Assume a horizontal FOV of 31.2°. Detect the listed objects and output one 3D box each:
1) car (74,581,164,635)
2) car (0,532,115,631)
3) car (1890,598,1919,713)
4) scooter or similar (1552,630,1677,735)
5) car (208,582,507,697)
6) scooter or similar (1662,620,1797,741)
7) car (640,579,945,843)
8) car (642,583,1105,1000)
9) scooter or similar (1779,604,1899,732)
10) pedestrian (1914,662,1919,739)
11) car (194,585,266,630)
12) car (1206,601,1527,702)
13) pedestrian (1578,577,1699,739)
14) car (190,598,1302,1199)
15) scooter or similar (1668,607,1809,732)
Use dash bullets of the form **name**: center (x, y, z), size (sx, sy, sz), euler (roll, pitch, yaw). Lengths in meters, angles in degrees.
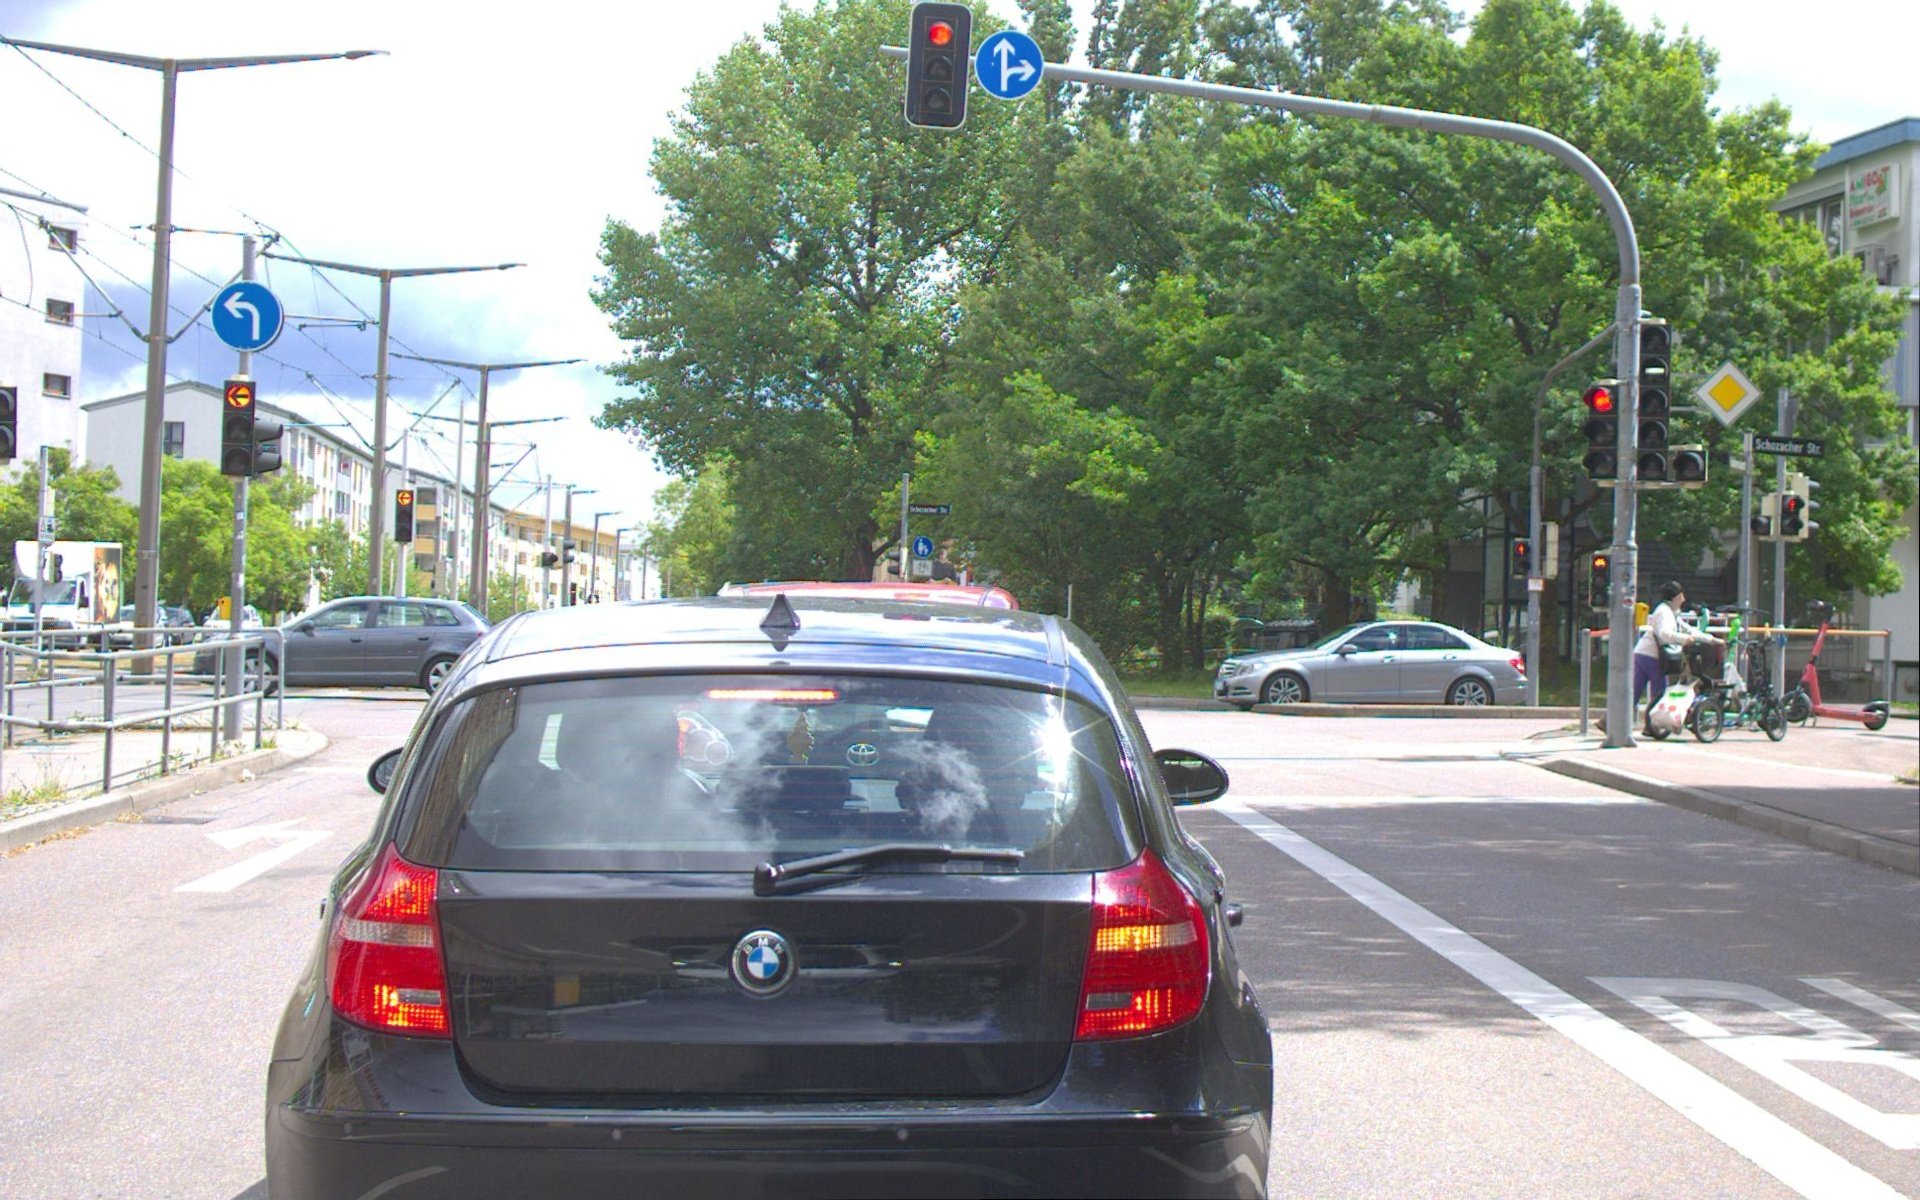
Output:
- **car**: center (-26.157, 0.227, 106.980), size (1.966, 1.590, 4.000), euler (1, 0, -3)
- **car**: center (-24.984, -0.514, 94.885), size (2.139, 2.631, 5.359), euler (1, 0, -2)
- **car**: center (15.138, 0.790, 48.347), size (3.576, 1.595, 1.712), euler (1, 0, -12)
- **scooter or similar**: center (6.065, 0.760, 31.856), size (1.119, 0.954, 0.300), euler (0, 0, -16)
- **car**: center (-8.291, 0.537, 47.533), size (3.986, 1.521, 1.676), euler (1, 0, -8)
- **scooter or similar**: center (6.971, 0.712, 31.096), size (0.410, 1.047, 1.782), euler (1, 1, 40)
- **car**: center (-0.982, 0.600, 20.642), size (1.654, 1.414, 3.517), euler (1, 1, -2)
- **car**: center (-0.296, 0.658, 13.735), size (1.594, 1.414, 3.517), euler (1, 1, 0)
- **scooter or similar**: center (8.681, 0.668, 33.965), size (1.106, 1.253, 0.332), euler (0, 0, -12)
- **pedestrian**: center (9.801, 0.495, 33.426), size (0.761, 1.784, 0.567), euler (5, 0, 31)
- **car**: center (-26.861, 0.259, 126.604), size (1.966, 1.590, 4.000), euler (1, 0, -3)
- **car**: center (5.894, 0.743, 50.071), size (4.322, 1.389, 1.713), euler (1, 0, -8)
- **pedestrian**: center (6.157, 0.514, 31.176), size (0.866, 1.438, 0.797), euler (1, 0, 29)
- **car**: center (-0.289, 0.731, 6.901), size (1.654, 1.414, 3.517), euler (1, 1, 1)
- **scooter or similar**: center (7.499, 0.663, 33.116), size (1.287, 1.185, 0.385), euler (0, 0, -16)
